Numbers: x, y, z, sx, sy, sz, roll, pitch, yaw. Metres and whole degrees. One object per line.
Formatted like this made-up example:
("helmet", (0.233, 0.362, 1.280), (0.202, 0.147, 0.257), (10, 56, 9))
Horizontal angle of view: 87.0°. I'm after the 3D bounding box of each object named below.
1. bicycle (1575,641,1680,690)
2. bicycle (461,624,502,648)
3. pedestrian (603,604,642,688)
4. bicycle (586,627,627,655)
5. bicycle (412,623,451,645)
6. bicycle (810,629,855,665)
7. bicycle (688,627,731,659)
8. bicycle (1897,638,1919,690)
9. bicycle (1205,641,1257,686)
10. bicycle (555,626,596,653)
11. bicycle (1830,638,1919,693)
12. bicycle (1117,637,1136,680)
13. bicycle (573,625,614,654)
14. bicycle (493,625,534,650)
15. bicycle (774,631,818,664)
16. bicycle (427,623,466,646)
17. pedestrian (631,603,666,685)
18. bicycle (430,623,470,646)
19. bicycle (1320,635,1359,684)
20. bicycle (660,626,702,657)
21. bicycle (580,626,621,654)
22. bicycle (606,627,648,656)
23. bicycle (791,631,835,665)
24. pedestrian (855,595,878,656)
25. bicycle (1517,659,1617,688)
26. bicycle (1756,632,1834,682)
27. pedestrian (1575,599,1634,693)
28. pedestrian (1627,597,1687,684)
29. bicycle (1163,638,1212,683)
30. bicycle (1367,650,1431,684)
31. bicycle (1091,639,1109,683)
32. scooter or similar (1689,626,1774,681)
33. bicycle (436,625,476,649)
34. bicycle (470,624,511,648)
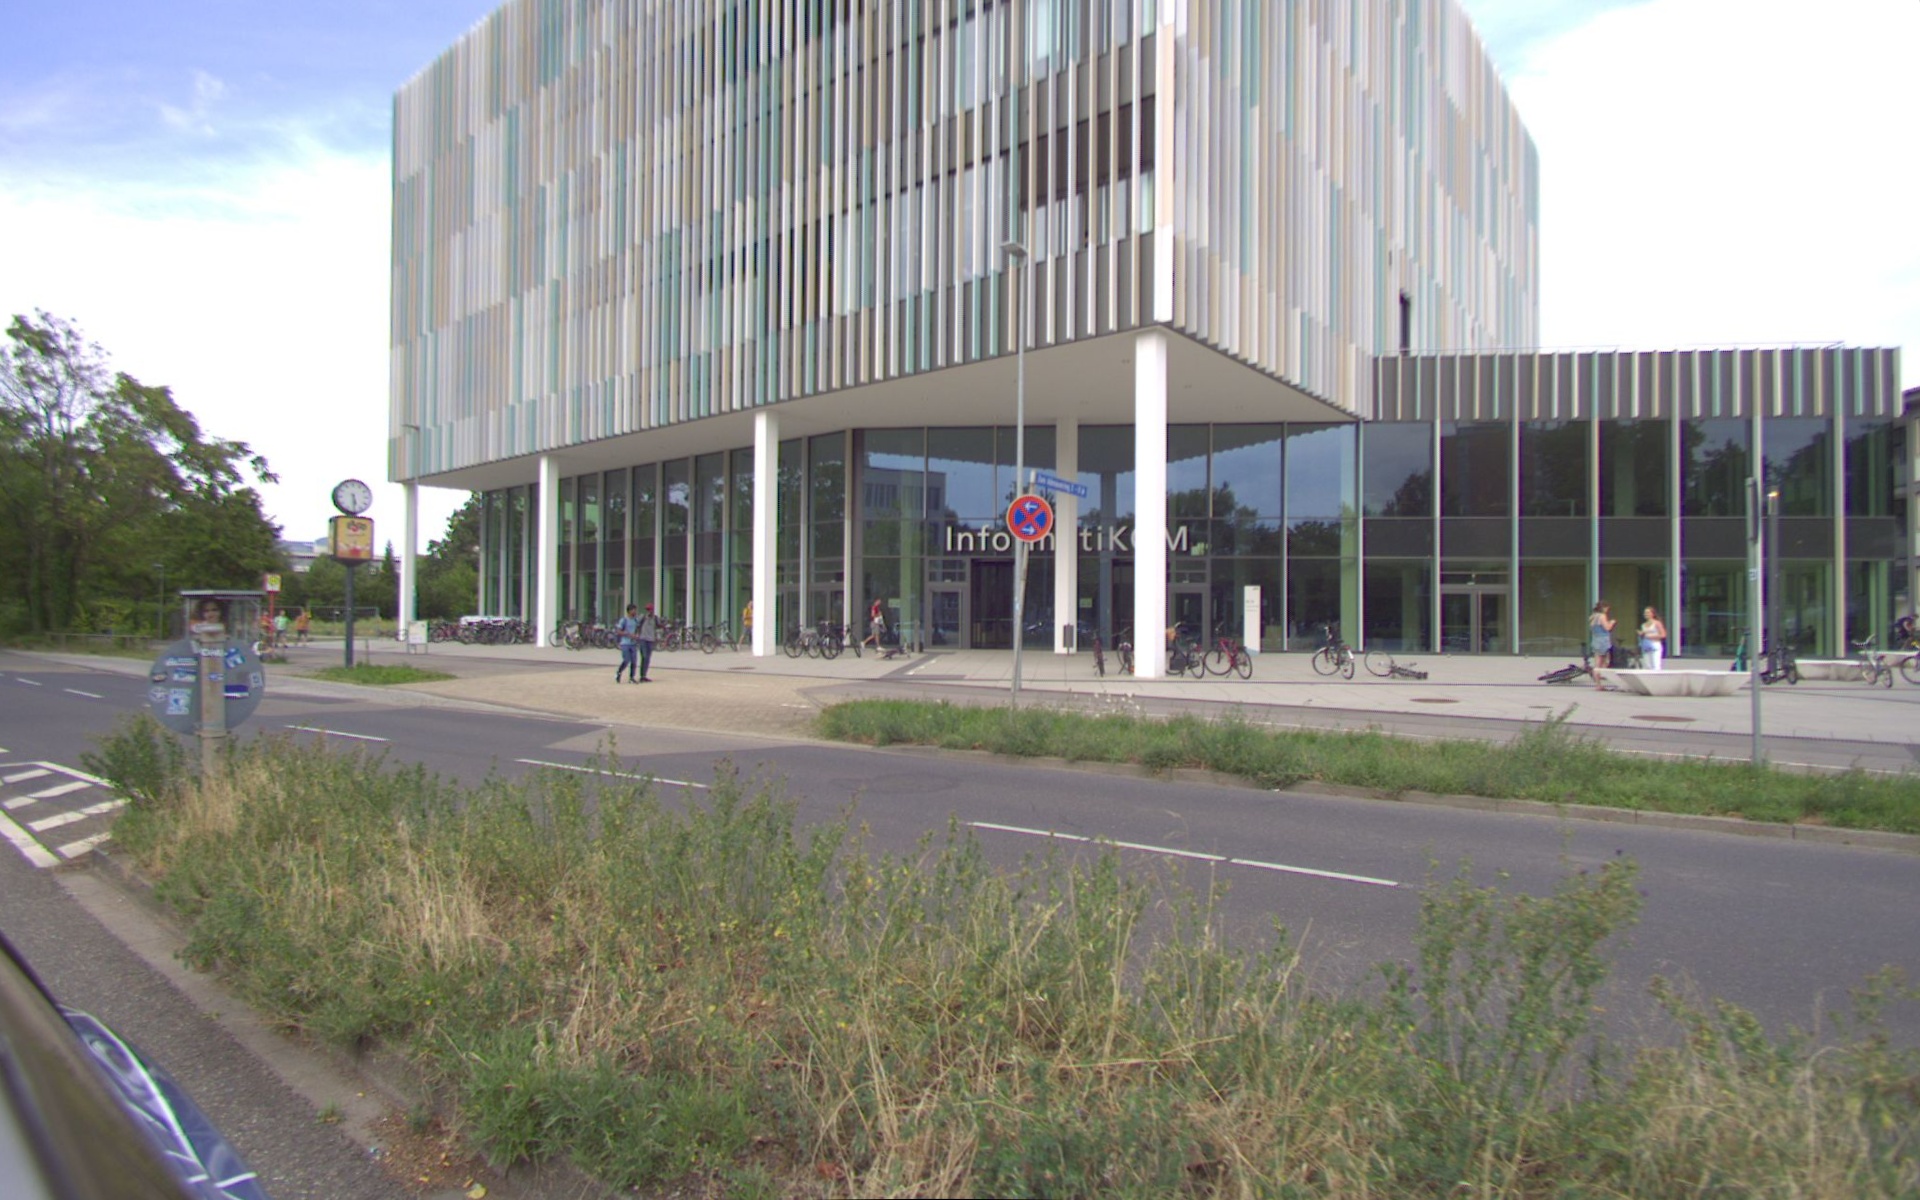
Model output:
("bicycle", (14.784, 1.433, 22.499), (0.614, 0.992, 2.254), (0, -1, -7))
("bicycle", (-21.920, 1.648, 46.353), (0.433, 1.031, 1.684), (-1, 0, 35))
("pedestrian", (-7.583, 1.028, 22.729), (0.772, 1.851, 0.505), (-2, -3, 40))
("bicycle", (-13.681, 1.582, 39.209), (0.389, 1.031, 1.563), (-1, 0, 35))
("bicycle", (-26.320, 1.679, 50.426), (0.433, 1.031, 1.684), (-1, 0, 35))
("bicycle", (-3.845, 1.403, 30.558), (0.399, 1.002, 1.527), (-1, 0, 36))
("bicycle", (-8.617, 1.459, 34.826), (0.389, 1.031, 1.563), (-1, 0, 35))
("bicycle", (21.046, 1.381, 21.576), (0.793, 1.097, 2.659), (-1, -2, 25))
("bicycle", (6.304, 1.456, 23.611), (0.387, 0.944, 1.603), (-1, 0, -16))
("bicycle", (-15.427, 1.583, 40.636), (0.389, 1.031, 1.563), (-1, 0, 35))
("bicycle", (19.989, 1.387, 22.101), (0.793, 1.097, 2.659), (-1, -2, 25))
("bicycle", (4.102, 1.430, 25.026), (0.389, 0.944, 1.594), (-1, 0, 7))
("bicycle", (-14.470, 1.549, 39.968), (0.389, 1.031, 1.563), (-1, 0, 35))
("bicycle", (-19.835, 1.657, 44.966), (0.389, 1.031, 1.684), (-1, 0, 35))
("bicycle", (-5.101, 1.459, 31.546), (0.389, 0.944, 1.528), (-1, 0, 35))
("bicycle", (-25.142, 1.671, 49.526), (0.433, 1.031, 1.684), (-1, 0, 35))
("pedestrian", (-7.141, 1.011, 23.216), (0.624, 1.851, 0.505), (-2, -3, 40))
("bicycle", (-24.586, 1.667, 48.824), (0.433, 1.031, 1.684), (-1, 0, 35))
("bicycle", (8.792, 1.359, 23.478), (0.389, 1.037, 1.545), (-1, 0, 3))
("bicycle", (-10.006, 1.477, 36.328), (0.389, 1.031, 1.563), (-1, 0, 35))
("bicycle", (-14.069, 1.568, 39.626), (0.389, 1.031, 1.563), (-1, 0, 35))
("bicycle", (-12.527, 1.551, 38.052), (0.389, 1.031, 1.563), (-1, 0, 35))
("bicycle", (-4.501, 1.456, 31.069), (0.393, 0.944, 1.528), (-1, 0, 35))
("pedestrian", (-3.182, 0.877, 34.563), (0.505, 2.059, 0.625), (2, -3, -45))
("bicycle", (13.317, 1.600, 22.282), (0.614, 0.526, 2.254), (0, -1, -7))
("bicycle", (18.452, 1.233, 22.431), (0.669, 1.007, 2.660), (-1, -2, 25))
("pedestrian", (12.236, 0.867, 19.222), (0.670, 1.753, 0.729), (0, -1, 7))
("pedestrian", (13.246, 0.761, 19.248), (0.671, 1.612, 0.728), (0, -1, 10))
("bicycle", (5.300, 1.397, 23.679), (0.387, 0.944, 1.603), (-1, 0, -16))
("bicycle", (10.200, 1.545, 23.577), (0.387, 0.678, 1.800), (-1, 0, -12))
("bicycle", (3.322, 1.432, 24.076), (0.389, 0.944, 1.607), (-1, 0, 7))
("scooter or similar", (17.740, 1.201, 23.337), (0.589, 1.207, 2.119), (0, -1, 9))
("bicycle", (-23.829, 1.743, 47.868), (0.433, 1.031, 1.684), (-1, 0, 35))
("bicycle", (-21.248, 1.625, 45.834), (0.433, 1.031, 1.684), (-1, 0, 35))
